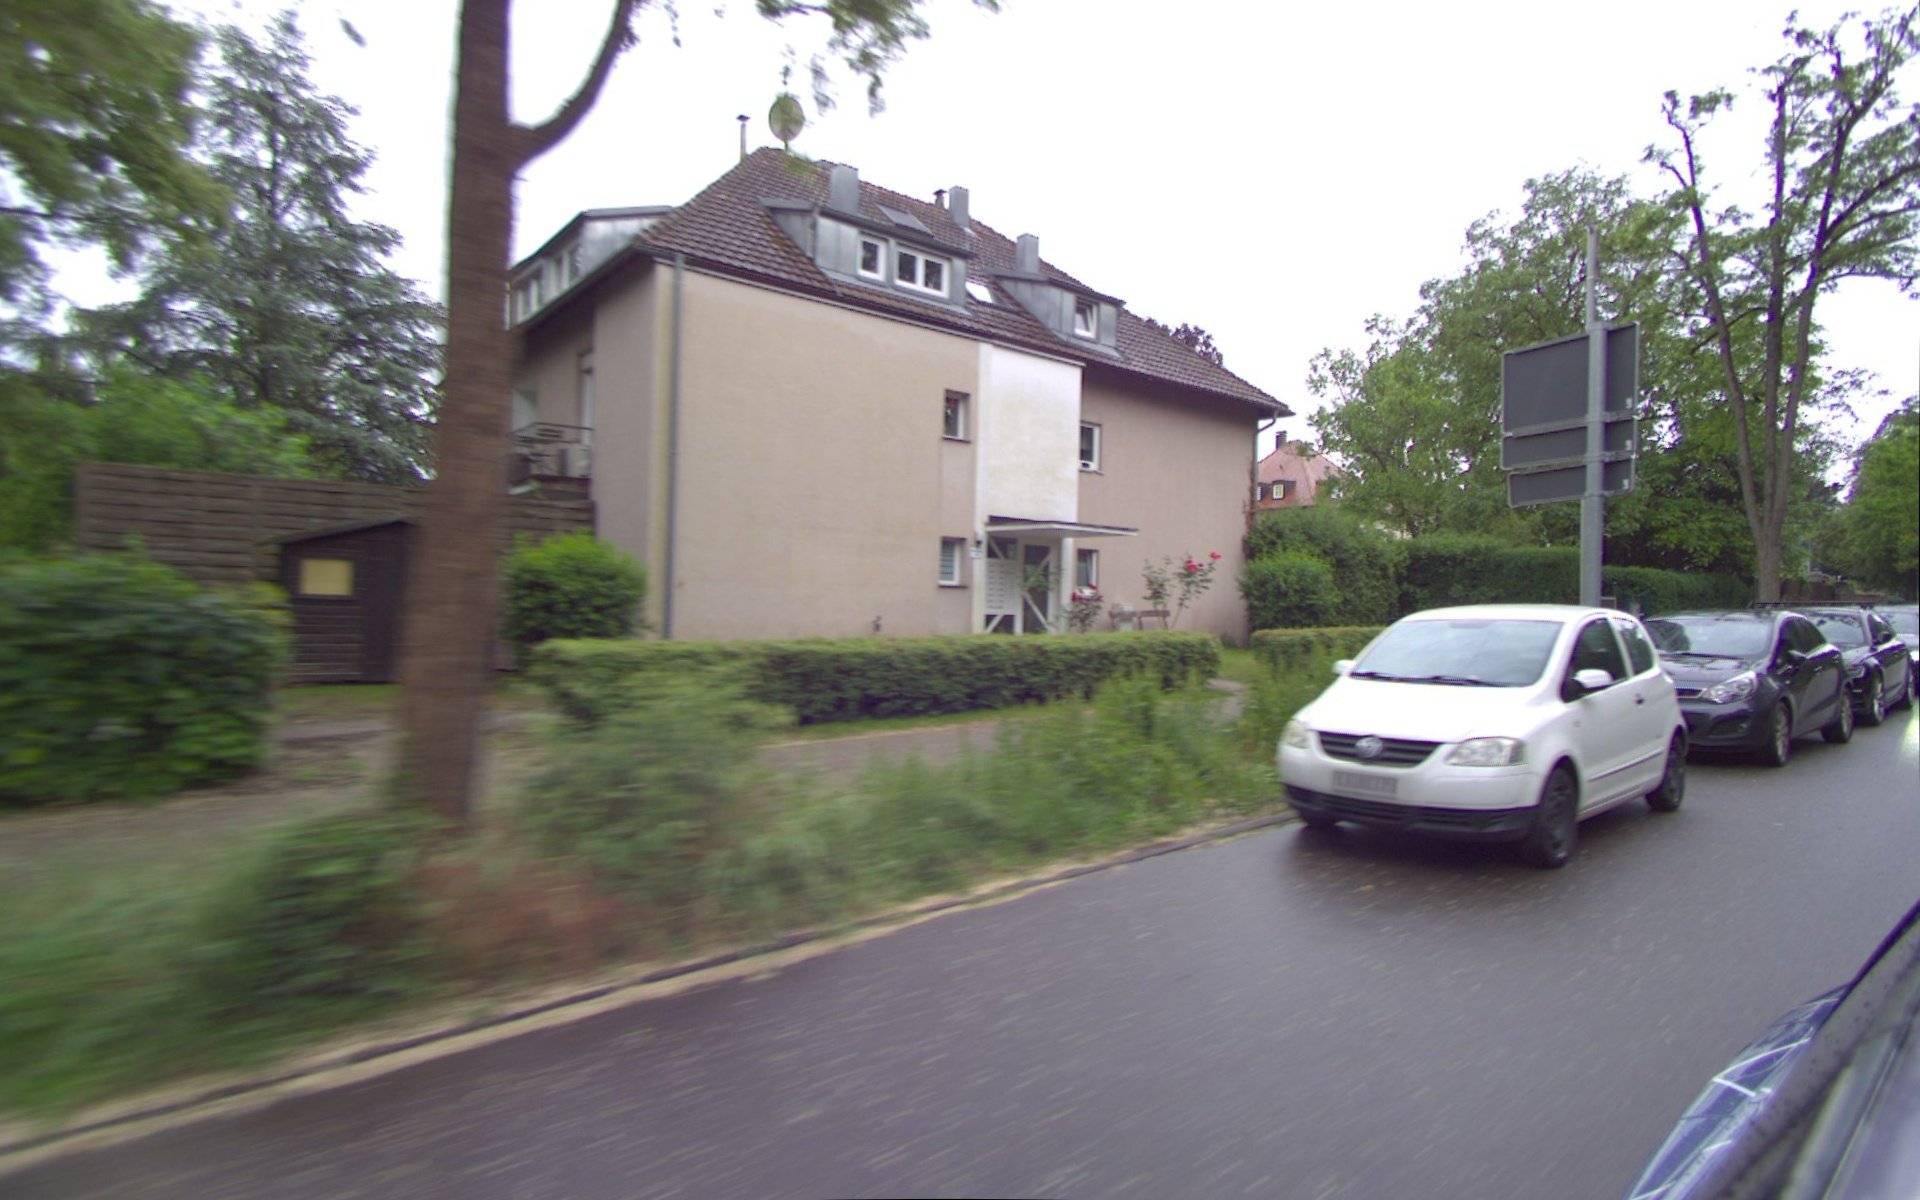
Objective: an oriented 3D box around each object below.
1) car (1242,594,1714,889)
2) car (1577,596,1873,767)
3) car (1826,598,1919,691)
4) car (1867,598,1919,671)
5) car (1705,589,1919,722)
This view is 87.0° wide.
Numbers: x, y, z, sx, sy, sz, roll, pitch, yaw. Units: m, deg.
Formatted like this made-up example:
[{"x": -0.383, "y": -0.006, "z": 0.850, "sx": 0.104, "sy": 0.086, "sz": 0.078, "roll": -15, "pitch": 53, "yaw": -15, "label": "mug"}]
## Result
[{"x": 3.683, "y": 0.726, "z": 6.935, "sx": 3.698, "sy": 1.491, "sz": 1.574, "roll": 0, "pitch": -1, "yaw": -40, "label": "car"}, {"x": 8.157, "y": 0.716, "z": 10.676, "sx": 3.873, "sy": 1.489, "sz": 1.620, "roll": 0, "pitch": -1, "yaw": -39, "label": "car"}, {"x": 16.844, "y": 0.720, "z": 17.990, "sx": 4.334, "sy": 1.487, "sz": 1.619, "roll": 0, "pitch": -1, "yaw": -42, "label": "car"}, {"x": 20.606, "y": 0.677, "z": 21.161, "sx": 3.926, "sy": 1.428, "sz": 1.733, "roll": 0, "pitch": -1, "yaw": -38, "label": "car"}, {"x": 12.090, "y": 0.659, "z": 14.047, "sx": 4.738, "sy": 1.546, "sz": 1.756, "roll": 0, "pitch": -1, "yaw": -40, "label": "car"}]
